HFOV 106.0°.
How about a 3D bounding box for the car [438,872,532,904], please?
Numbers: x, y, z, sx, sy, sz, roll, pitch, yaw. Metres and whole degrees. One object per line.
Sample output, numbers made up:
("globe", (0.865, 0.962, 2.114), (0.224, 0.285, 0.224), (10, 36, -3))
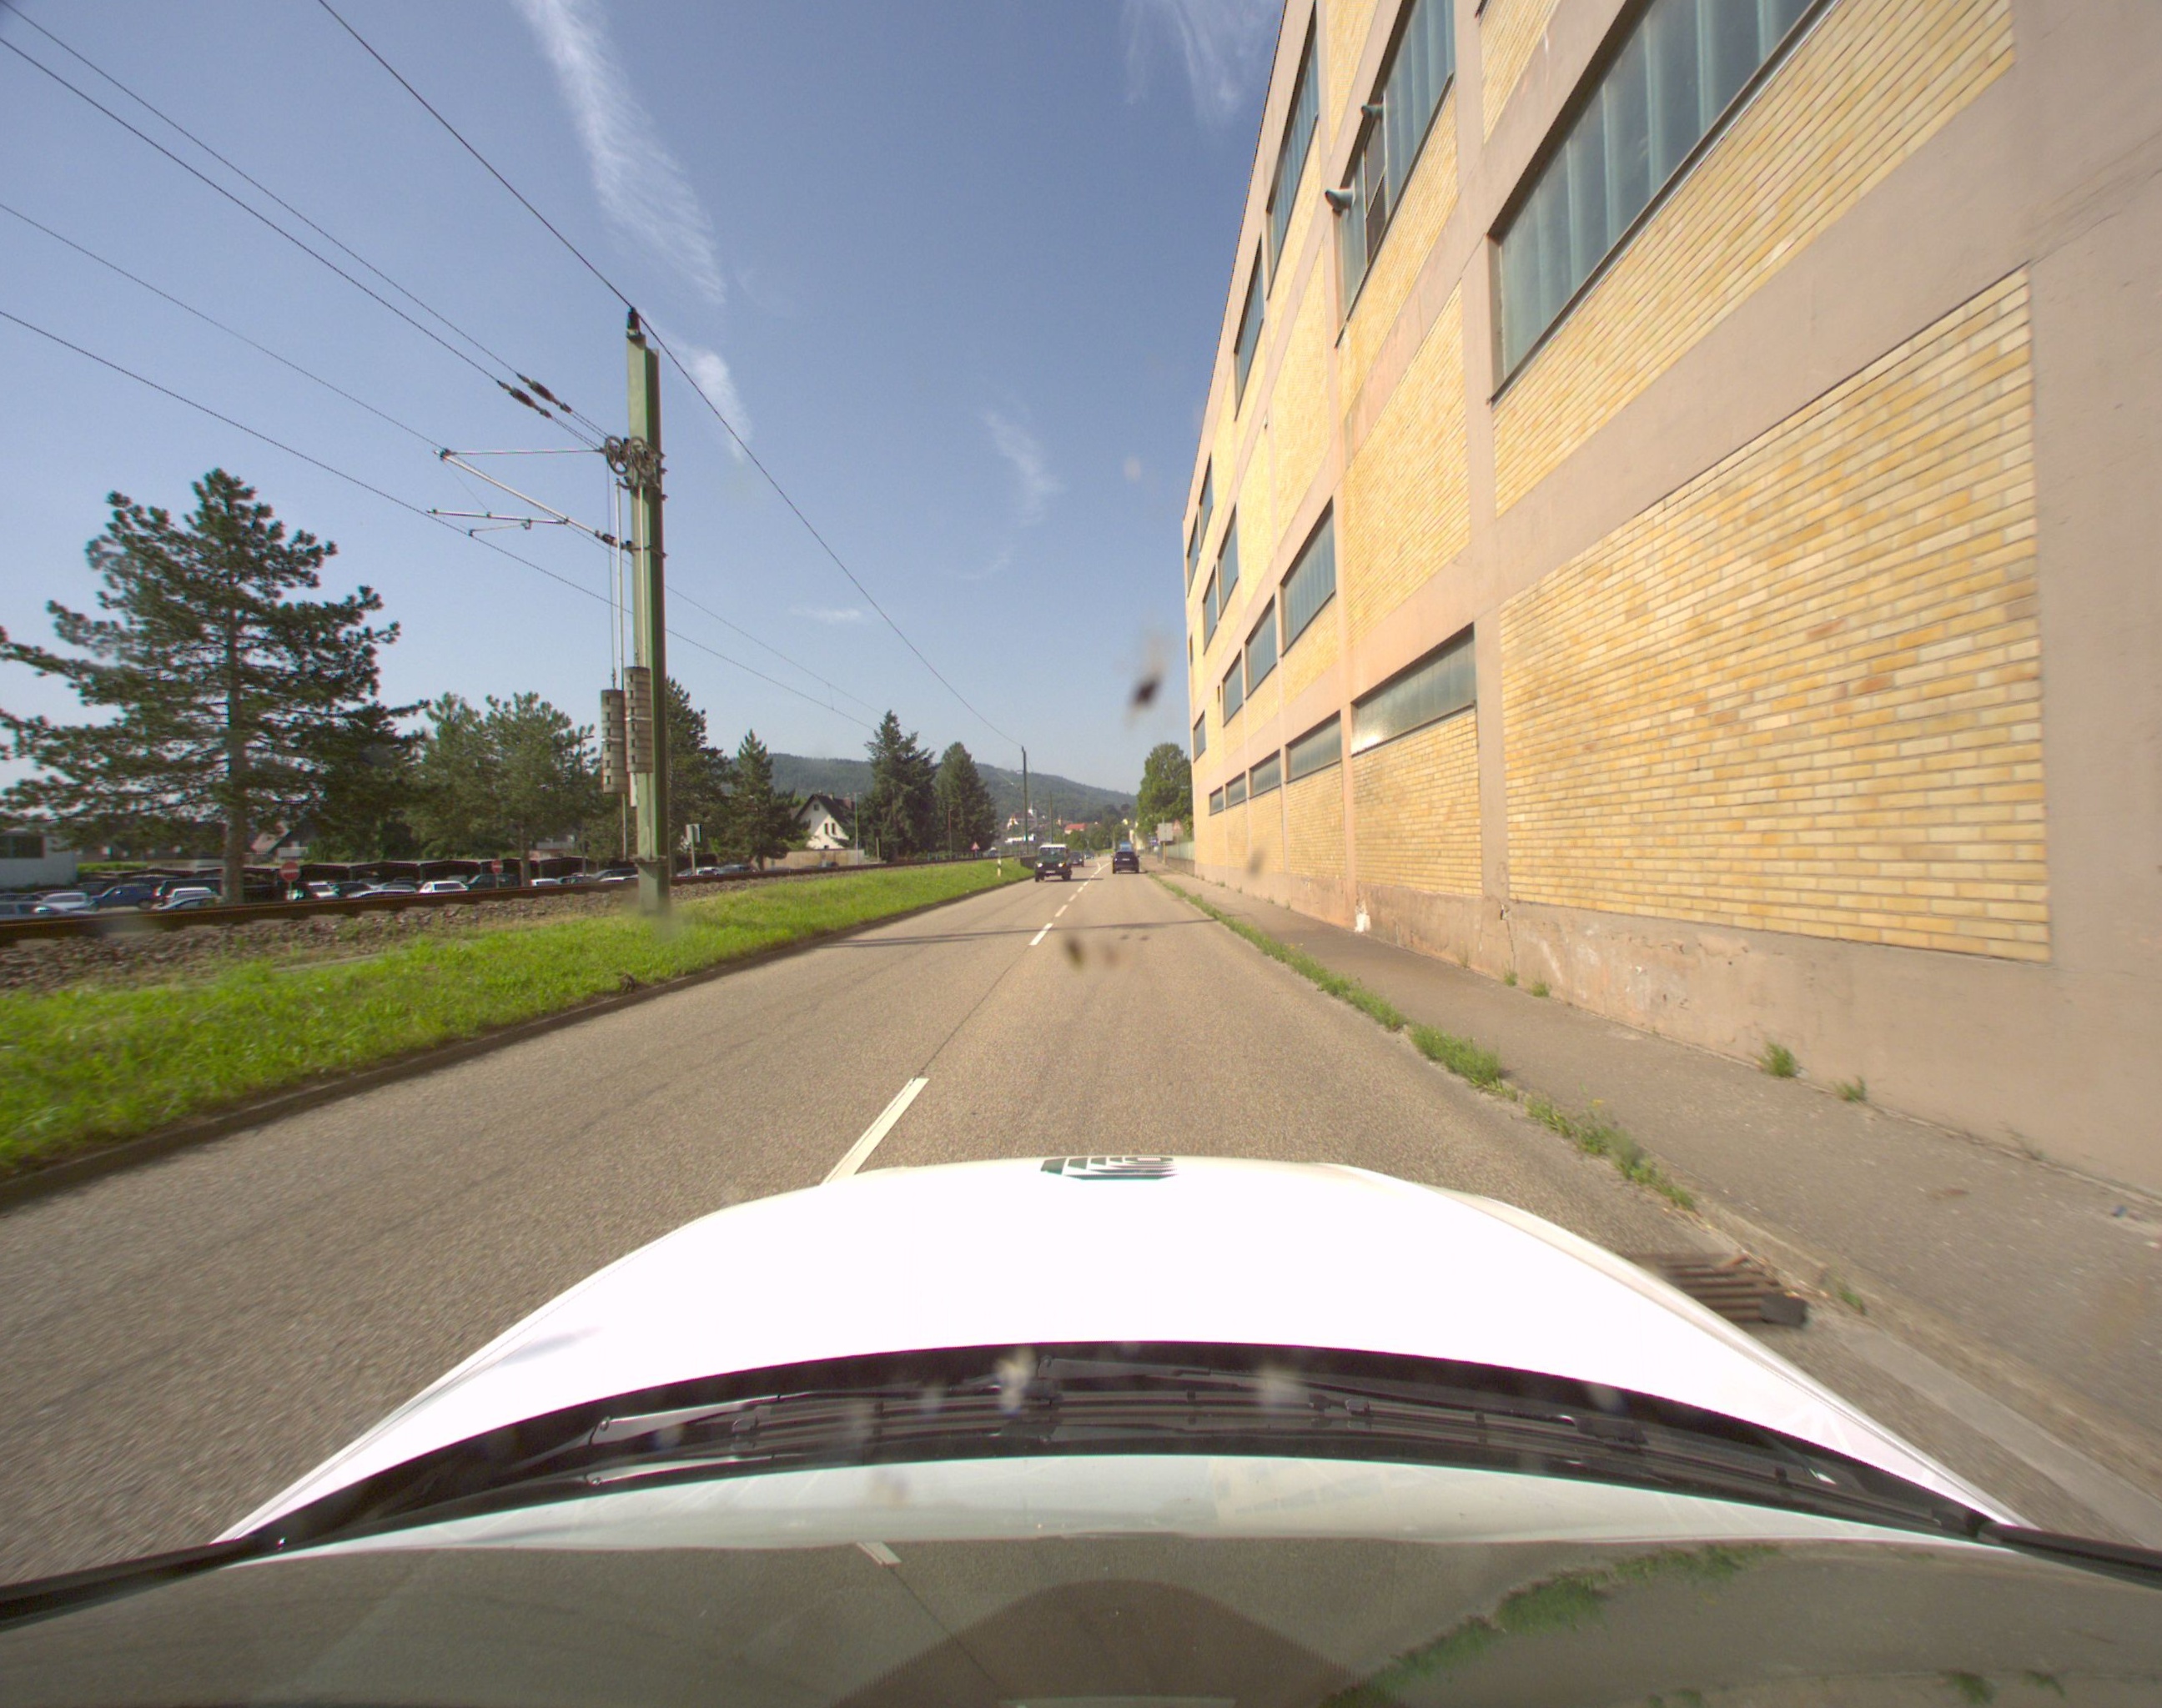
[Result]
("car", (-29.436, 1.672, 40.298), (3.541, 1.357, 1.500), (-2, 0, -44))

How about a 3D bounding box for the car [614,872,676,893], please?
("car", (-31.197, 2.023, 58.328), (1.438, 1.325, 3.559), (-2, 0, 39))

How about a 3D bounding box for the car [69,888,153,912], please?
("car", (-65.398, 3.071, 54.978), (1.438, 1.325, 3.559), (-2, 0, 41))

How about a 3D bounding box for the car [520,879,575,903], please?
("car", (-31.666, 2.179, 48.276), (3.491, 1.325, 1.467), (-2, 0, 34))

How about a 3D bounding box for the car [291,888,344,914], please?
("car", (-43.064, 2.626, 45.937), (3.491, 1.325, 1.467), (-2, 0, 35))

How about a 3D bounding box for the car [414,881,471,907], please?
("car", (-36.021, 2.252, 45.924), (3.491, 1.325, 1.467), (-2, 0, 34))

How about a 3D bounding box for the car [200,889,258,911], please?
("car", (-56.102, 3.026, 53.616), (3.494, 1.325, 1.465), (-2, 0, 23))

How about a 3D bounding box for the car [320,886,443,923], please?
("car", (-30.556, 2.166, 35.671), (1.544, 1.325, 3.882), (-2, 0, 40))

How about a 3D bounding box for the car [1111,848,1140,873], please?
("car", (3.154, 0.464, 57.395), (1.912, 1.640, 4.003), (-2, 0, 3))

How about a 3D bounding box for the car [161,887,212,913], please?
("car", (-50.737, 2.618, 46.166), (3.491, 1.325, 1.467), (-2, 0, 35))

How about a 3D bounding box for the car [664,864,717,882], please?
("car", (-36.107, 1.754, 75.292), (3.982, 1.536, 1.814), (-1, 0, -7))

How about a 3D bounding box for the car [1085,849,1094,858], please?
("car", (1.657, -0.090, 158.006), (1.735, 1.507, 4.200), (-1, 0, 1))

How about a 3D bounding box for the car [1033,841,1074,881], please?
("car", (-1.457, 0.375, 44.885), (1.751, 2.078, 4.812), (0, 0, 3))

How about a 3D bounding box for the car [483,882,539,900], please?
("car", (-48.010, 3.102, 68.636), (3.531, 1.325, 1.450), (-2, 0, -15))

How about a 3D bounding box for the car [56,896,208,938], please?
("car", (-38.663, 2.537, 33.342), (3.879, 1.325, 1.545), (-2, 0, -44))

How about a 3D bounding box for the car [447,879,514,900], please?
("car", (-42.780, 2.511, 58.029), (1.438, 1.325, 3.559), (-2, 0, 39))

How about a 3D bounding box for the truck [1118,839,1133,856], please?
("truck", (8.016, -1.194, 147.024), (2.305, 2.970, 5.965), (-2, 0, 0))

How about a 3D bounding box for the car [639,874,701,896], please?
("car", (-28.821, 2.169, 57.135), (1.438, 1.325, 3.559), (-2, 0, 39))

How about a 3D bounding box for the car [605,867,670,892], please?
("car", (-32.710, 1.875, 60.165), (1.625, 1.688, 3.830), (-2, 0, 38))

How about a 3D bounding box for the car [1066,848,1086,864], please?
("car", (-0.464, 0.190, 79.731), (1.724, 1.526, 4.095), (-1, 0, 2))

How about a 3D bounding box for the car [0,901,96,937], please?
("car", (-43.653, 2.724, 33.865), (1.438, 1.268, 3.363), (-2, 0, 39))
